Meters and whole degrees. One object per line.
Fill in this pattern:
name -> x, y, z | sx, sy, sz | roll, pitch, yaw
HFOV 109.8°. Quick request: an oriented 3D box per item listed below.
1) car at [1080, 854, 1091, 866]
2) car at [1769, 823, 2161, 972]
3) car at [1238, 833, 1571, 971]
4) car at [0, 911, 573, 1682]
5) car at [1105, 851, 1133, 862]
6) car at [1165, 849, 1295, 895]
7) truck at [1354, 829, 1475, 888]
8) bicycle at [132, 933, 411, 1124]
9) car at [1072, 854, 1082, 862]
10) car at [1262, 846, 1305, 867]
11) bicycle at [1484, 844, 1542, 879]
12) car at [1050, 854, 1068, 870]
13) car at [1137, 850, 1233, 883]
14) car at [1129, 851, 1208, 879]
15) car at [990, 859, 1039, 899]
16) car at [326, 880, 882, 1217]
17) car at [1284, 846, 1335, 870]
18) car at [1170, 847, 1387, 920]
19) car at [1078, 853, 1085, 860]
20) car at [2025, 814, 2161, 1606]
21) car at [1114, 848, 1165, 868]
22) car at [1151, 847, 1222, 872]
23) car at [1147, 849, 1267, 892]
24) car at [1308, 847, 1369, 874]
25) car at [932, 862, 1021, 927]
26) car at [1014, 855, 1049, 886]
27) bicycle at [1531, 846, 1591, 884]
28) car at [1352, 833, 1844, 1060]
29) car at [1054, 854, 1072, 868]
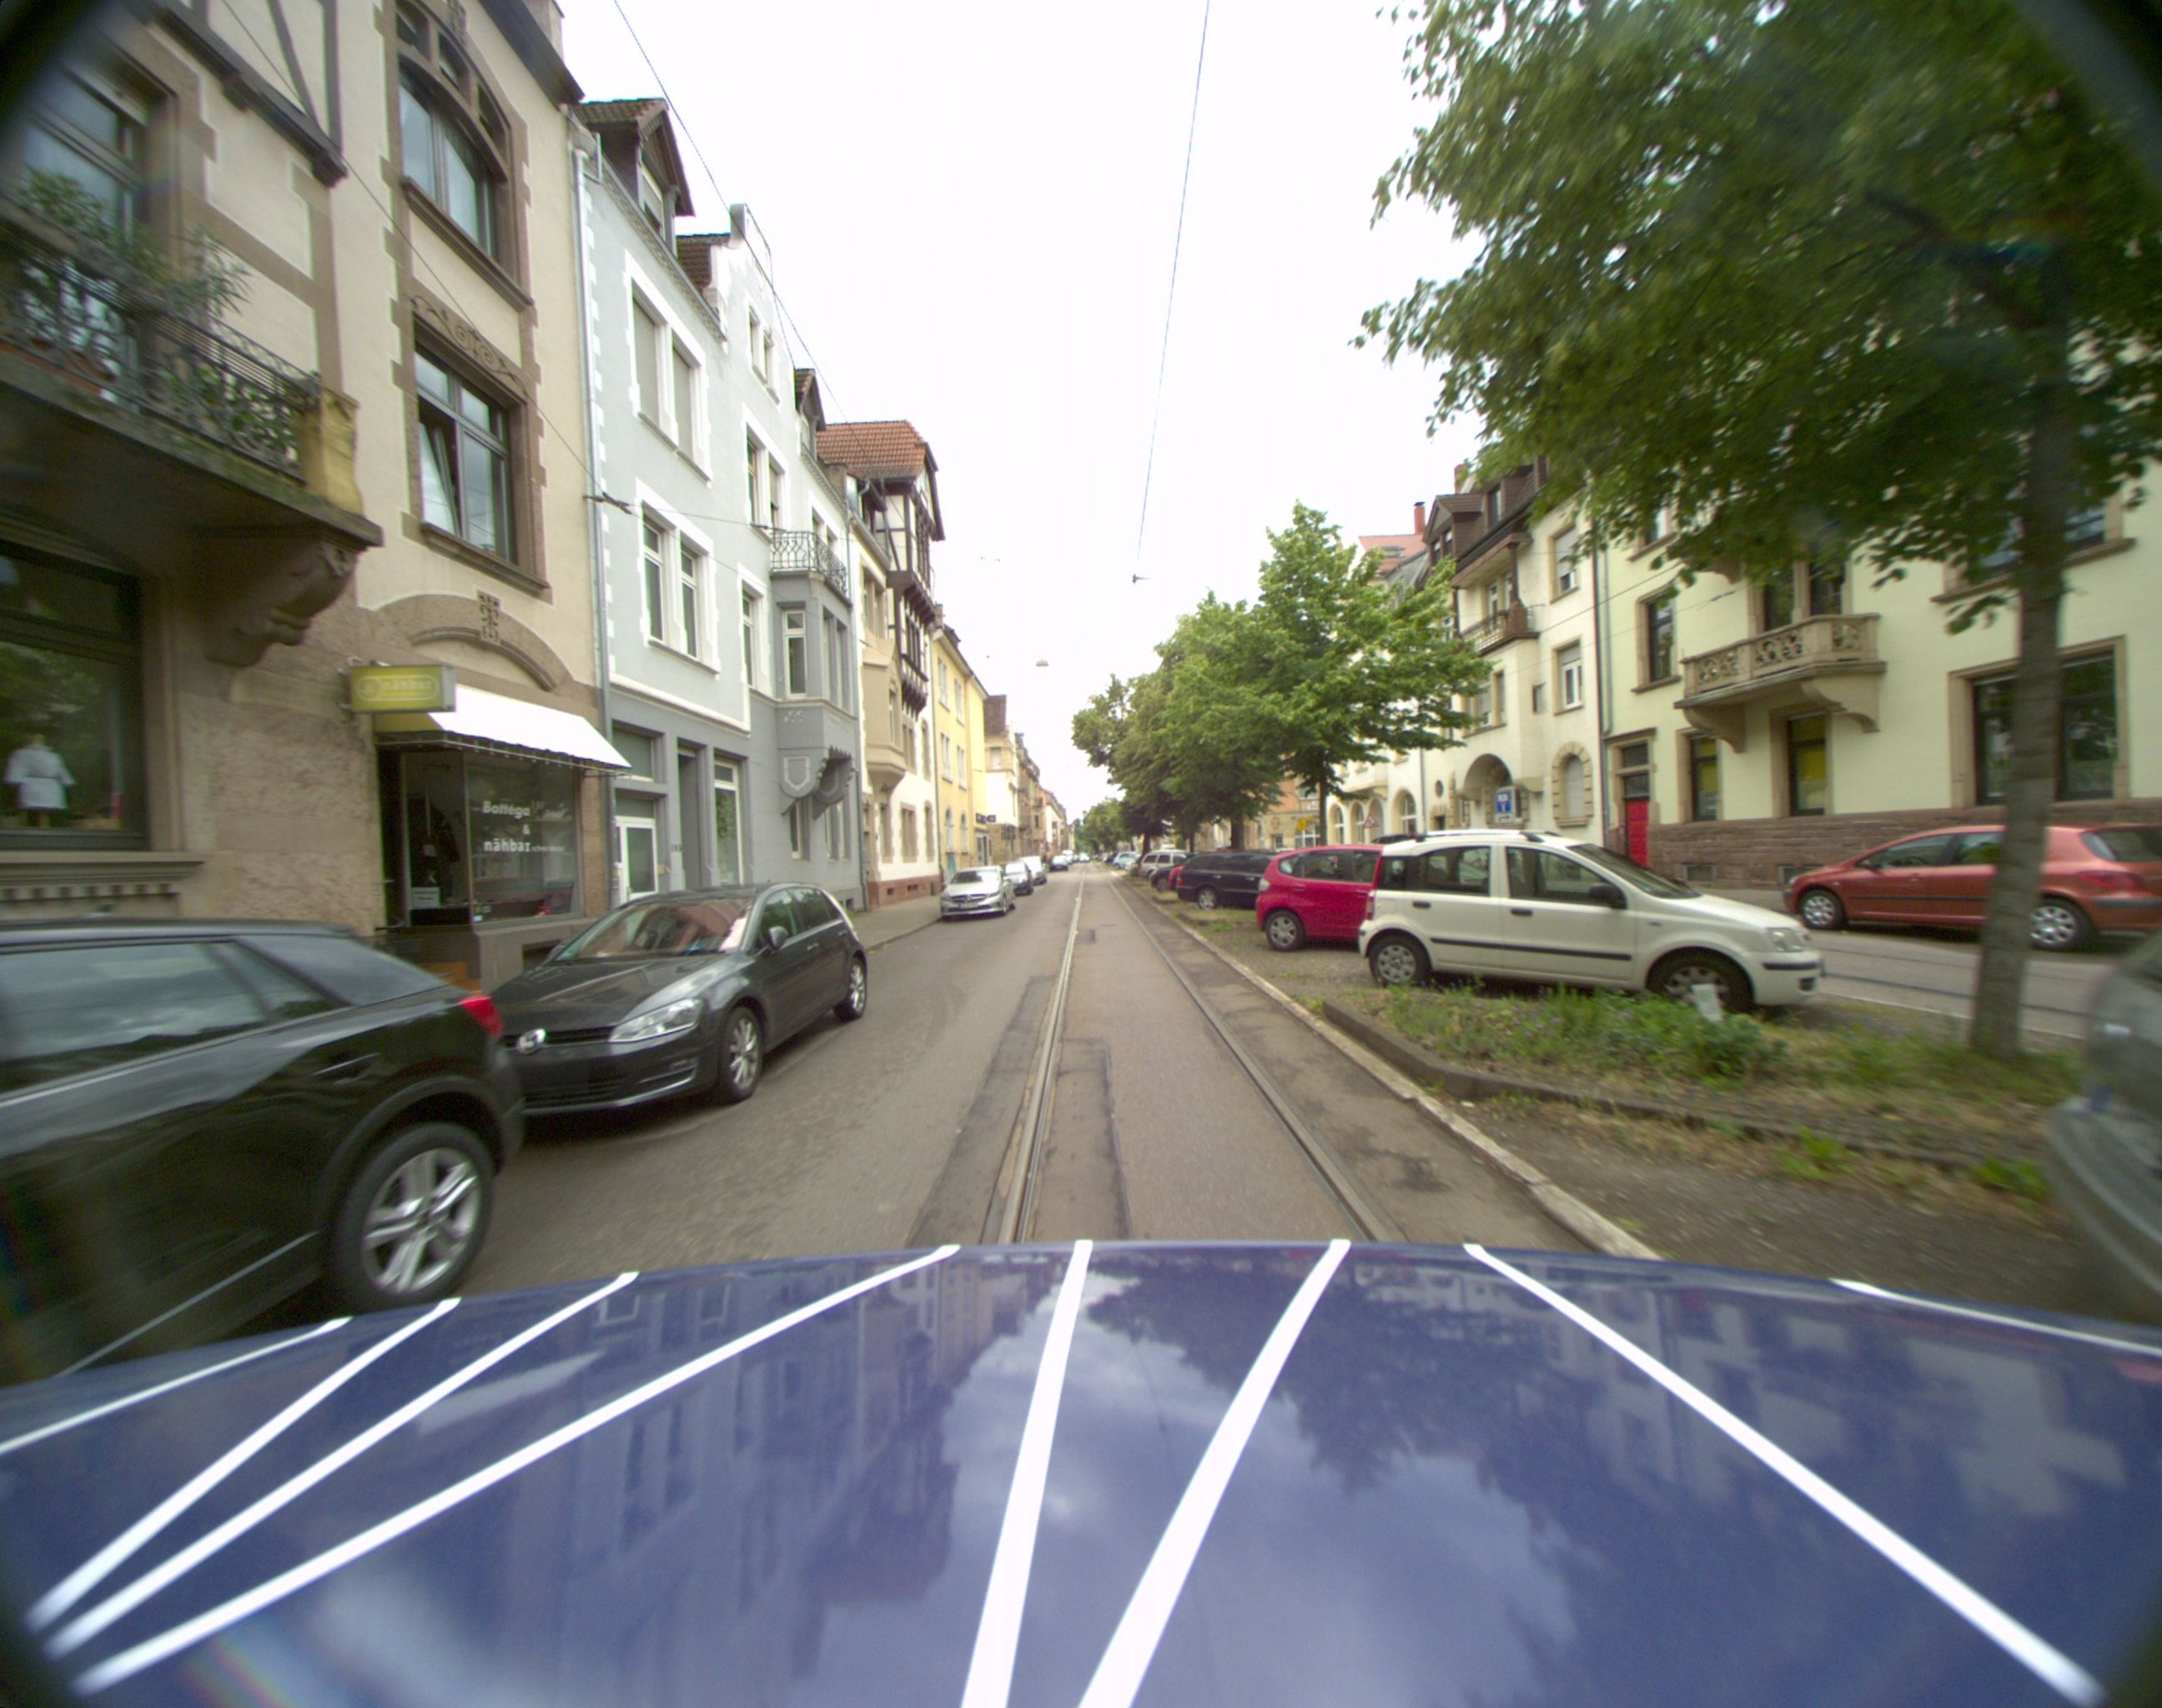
car -> 0.805, 1.110, 142.771 | 1.998, 2.002, 3.999 | -3, 1, 1
car -> 11.902, 0.426, 9.965 | 1.856, 1.513, 4.194 | -2, 0, -2
car -> 4.320, 0.635, 10.521 | 3.803, 1.518, 1.678 | -4, 0, 44
car -> -3.207, 1.088, 1.243 | 1.702, 1.504, 4.419 | -5, 0, -1
car -> 5.919, 0.334, 119.237 | 3.991, 1.602, 1.901 | -2, -1, 22
car -> 4.769, 0.583, 24.594 | 3.727, 1.380, 1.793 | -3, -1, 44
truck -> 12.116, 0.144, 28.151 | 2.150, 1.845, 6.065 | -3, 0, 4
bicycle -> -6.116, 1.249, 5.876 | 0.422, 1.091, 1.588 | 2, 0, 1
car -> -0.806, 0.800, 158.643 | 1.824, 1.477, 4.000 | -3, 0, 1
car -> 12.366, 0.157, 46.643 | 1.639, 1.169, 3.380 | -3, 0, -1
bicycle -> 15.172, 0.274, 26.740 | 0.613, 1.120, 1.914 | -5, 0, -11
car -> -2.240, 0.826, 79.208 | 1.676, 1.520, 4.212 | -3, 1, 0
car -> 4.845, 0.601, 35.601 | 3.989, 1.407, 1.902 | -2, -1, 39
car -> 4.860, 0.619, 42.401 | 3.989, 1.407, 1.902 | -2, -1, 39
car -> -2.877, 1.037, 33.684 | 1.635, 1.478, 4.213 | -5, 0, 0
car -> -3.125, 1.116, 6.270 | 1.702, 1.504, 4.391 | -5, 0, 0
car -> 12.295, 0.225, 41.034 | 1.639, 1.169, 3.380 | -3, 0, -1
car -> 4.526, 0.671, 17.935 | 1.889, 1.458, 4.596 | -3, 0, -44
car -> 0.109, 0.635, 191.718 | 1.824, 1.477, 4.000 | -3, 0, 1
car -> 3.980, 0.694, 0.382 | 4.195, 1.600, 1.728 | -1, 2, 43
car -> 5.148, 0.374, 67.185 | 3.989, 1.602, 1.902 | -2, -1, 31
car -> 6.538, 0.344, 47.118 | 3.991, 1.407, 1.901 | -2, -1, 21
car -> 4.597, 0.620, 28.099 | 3.989, 1.458, 1.902 | -3, -1, 44
car -> 12.250, 0.280, 36.353 | 1.639, 1.169, 3.380 | -3, 0, -1
car -> -2.932, 1.112, 22.264 | 1.793, 1.504, 4.213 | -5, 0, 1
car -> -2.792, 0.911, 43.747 | 1.635, 1.520, 4.212 | -3, 1, 0
bicycle -> 15.245, 0.329, 24.192 | 0.612, 1.120, 1.916 | -5, 0, 0
car -> 4.539, 0.646, 6.981 | 3.418, 1.518, 1.693 | -1, 2, 43
car -> -2.061, 0.775, 87.079 | 1.824, 1.477, 4.000 | -3, 0, 1
